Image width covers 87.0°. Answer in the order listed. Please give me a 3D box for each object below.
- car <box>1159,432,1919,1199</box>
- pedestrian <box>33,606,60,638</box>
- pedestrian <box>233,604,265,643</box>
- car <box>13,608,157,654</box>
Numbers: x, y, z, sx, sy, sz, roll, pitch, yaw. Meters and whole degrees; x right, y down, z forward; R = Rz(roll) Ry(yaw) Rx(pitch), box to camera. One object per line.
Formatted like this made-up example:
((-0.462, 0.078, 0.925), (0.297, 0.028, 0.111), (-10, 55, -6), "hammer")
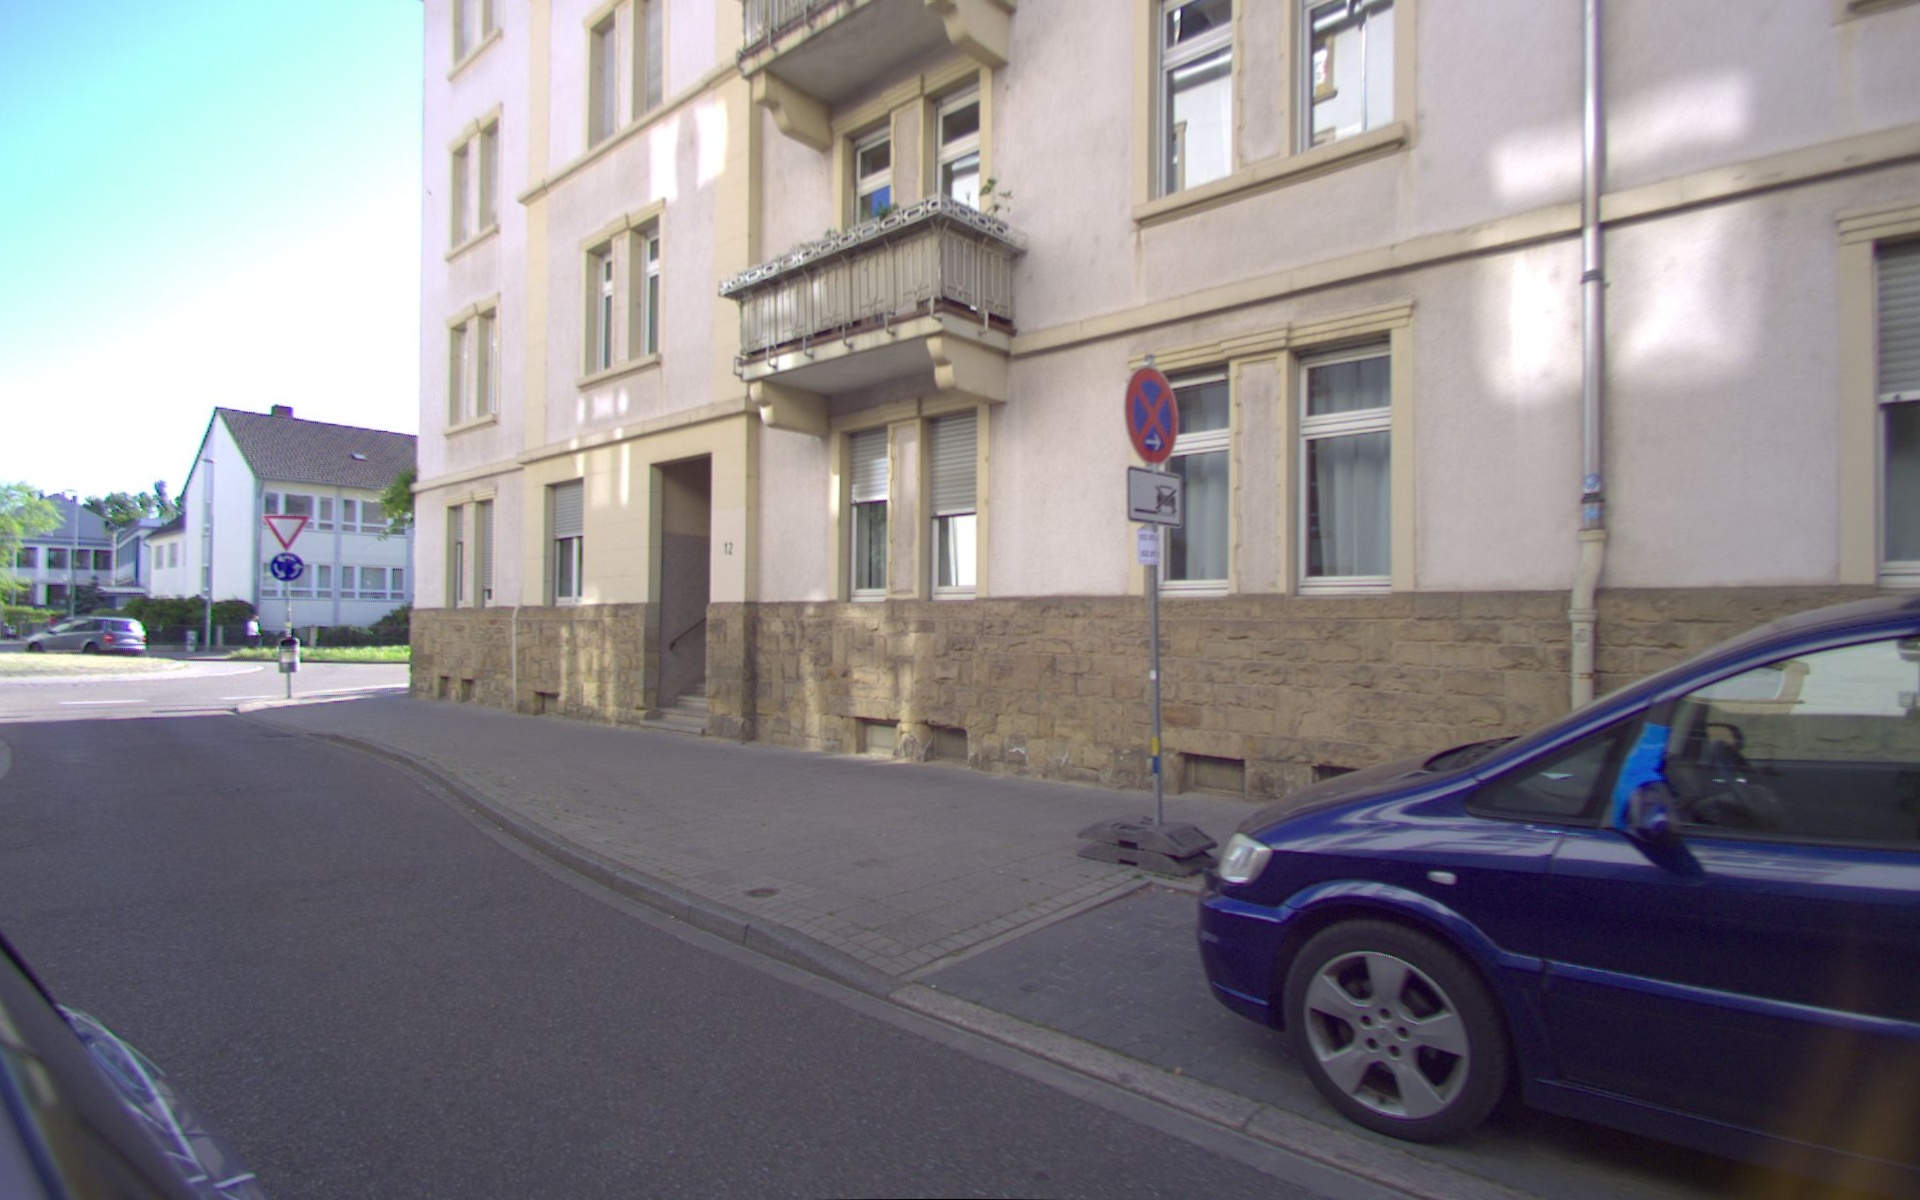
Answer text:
((2.846, 0.545, 2.661), (4.293, 1.784, 1.744), (-2, -3, 42), "car")
((-49.690, 1.187, 55.046), (0.994, 1.718, 0.811), (-1, -2, 32), "pedestrian")
((-31.753, 1.071, 45.193), (0.980, 1.718, 0.694), (1, -2, -20), "pedestrian")
((-33.747, 1.225, 39.090), (4.223, 1.709, 1.876), (0, -3, 8), "car")
